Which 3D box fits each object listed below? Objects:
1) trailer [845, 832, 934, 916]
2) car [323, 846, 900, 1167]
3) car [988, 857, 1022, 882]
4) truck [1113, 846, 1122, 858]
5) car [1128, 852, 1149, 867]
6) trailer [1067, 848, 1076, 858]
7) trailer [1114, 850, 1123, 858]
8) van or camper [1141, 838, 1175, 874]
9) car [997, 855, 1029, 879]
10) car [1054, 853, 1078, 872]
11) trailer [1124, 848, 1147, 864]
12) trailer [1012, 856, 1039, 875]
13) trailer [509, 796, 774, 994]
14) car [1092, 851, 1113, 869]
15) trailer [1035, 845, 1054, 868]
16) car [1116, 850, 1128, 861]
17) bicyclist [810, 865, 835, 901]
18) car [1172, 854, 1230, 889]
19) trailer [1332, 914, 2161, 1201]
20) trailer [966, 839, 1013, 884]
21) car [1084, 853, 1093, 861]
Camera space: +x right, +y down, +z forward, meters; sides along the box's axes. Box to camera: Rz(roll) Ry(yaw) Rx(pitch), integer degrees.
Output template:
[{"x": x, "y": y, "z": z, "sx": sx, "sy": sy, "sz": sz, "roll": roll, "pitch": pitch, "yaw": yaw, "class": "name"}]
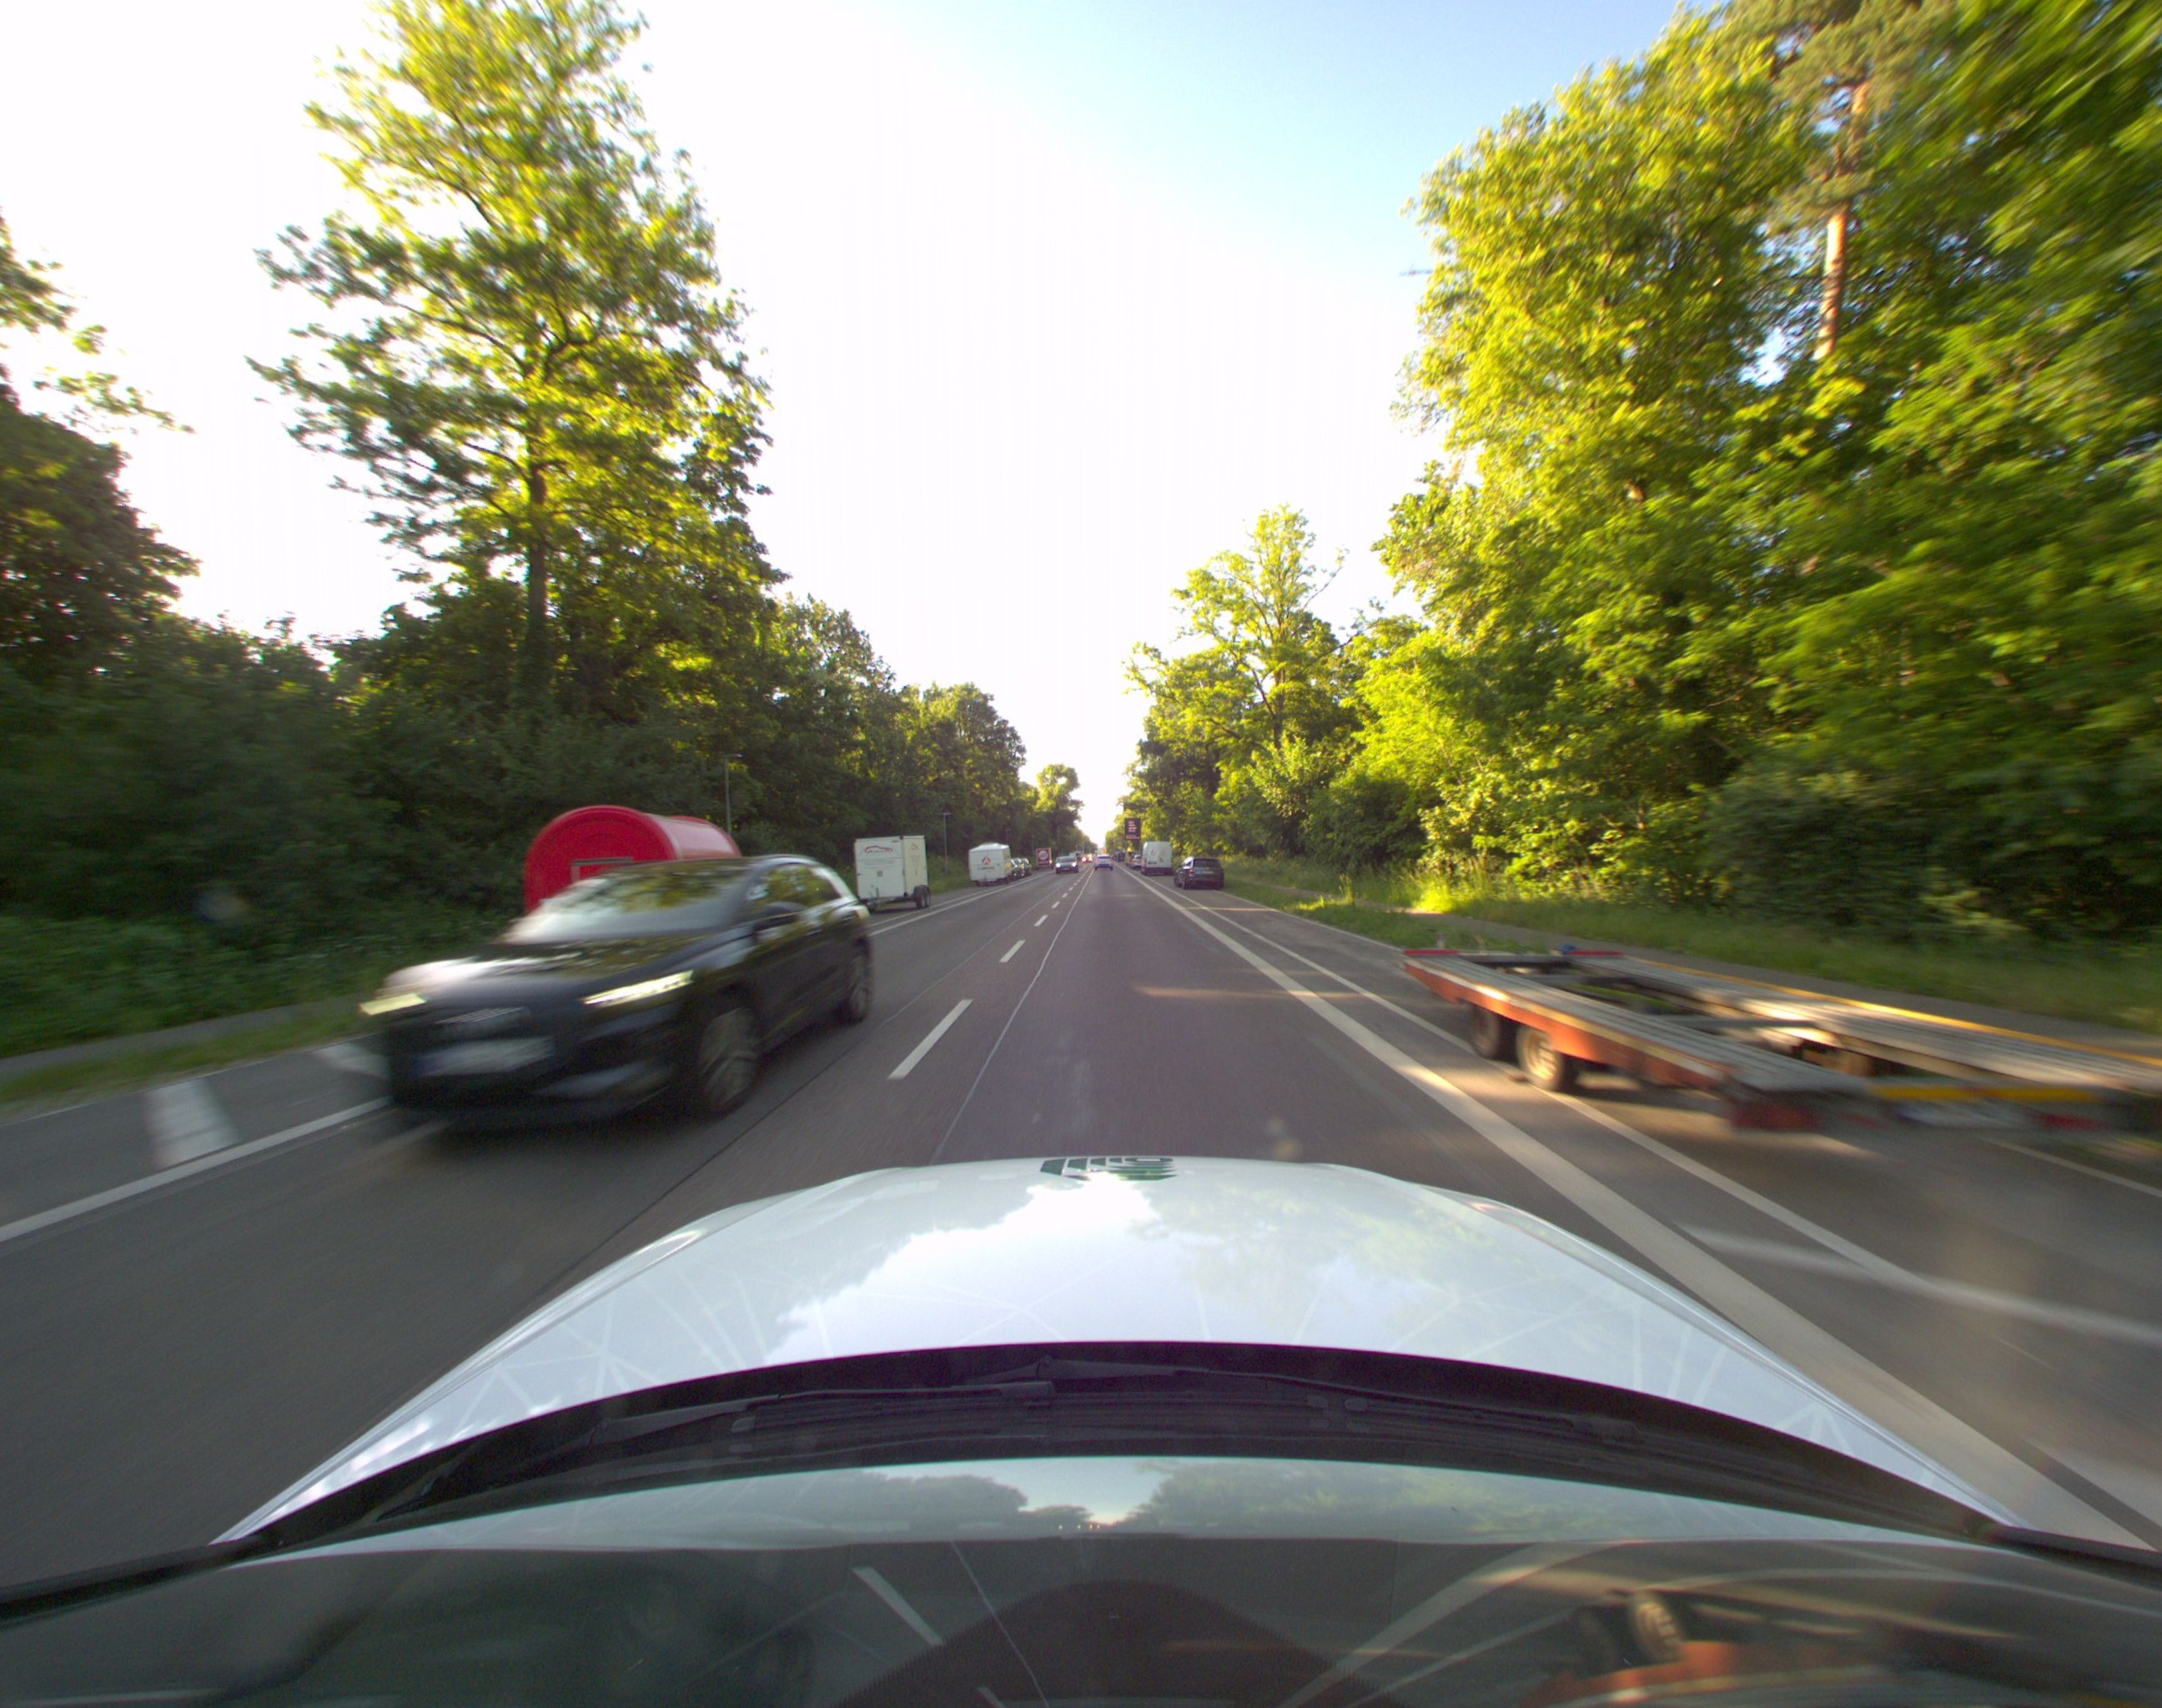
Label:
[{"x": -6.170, "y": 0.603, "z": 26.691, "sx": 2.061, "sy": 2.480, "sz": 3.558, "roll": -2, "pitch": 0, "yaw": -2, "class": "trailer"}, {"x": -2.946, "y": 0.803, "z": 6.461, "sx": 1.811, "sy": 1.587, "sz": 4.461, "roll": -3, "pitch": 0, "yaw": 2, "class": "car"}, {"x": -5.112, "y": 1.027, "z": 55.259, "sx": 1.665, "sy": 1.495, "sz": 4.196, "roll": -5, "pitch": 0, "yaw": 2, "class": "car"}, {"x": 10.380, "y": -0.660, "z": 232.852, "sx": 2.495, "sy": 3.366, "sz": 7.110, "roll": -1, "pitch": 0, "yaw": 2, "class": "truck"}, {"x": 5.676, "y": 0.537, "z": 80.943, "sx": 1.729, "sy": 1.488, "sz": 4.401, "roll": 0, "pitch": 0, "yaw": 0, "class": "car"}, {"x": -2.403, "y": -0.287, "z": 203.498, "sx": 2.066, "sy": 2.293, "sz": 3.489, "roll": -3, "pitch": 0, "yaw": 3, "class": "trailer"}, {"x": 9.373, "y": -0.018, "z": 202.442, "sx": 1.600, "sy": 2.112, "sz": 2.409, "roll": -1, "pitch": 0, "yaw": 22, "class": "trailer"}, {"x": 5.658, "y": 0.134, "z": 60.207, "sx": 2.117, "sy": 2.482, "sz": 6.308, "roll": -2, "pitch": 0, "yaw": 2, "class": "van or camper"}, {"x": -5.087, "y": 0.947, "z": 61.510, "sx": 1.665, "sy": 1.574, "sz": 5.129, "roll": -5, "pitch": 0, "yaw": 2, "class": "car"}, {"x": -1.255, "y": 0.736, "z": 70.727, "sx": 1.813, "sy": 1.532, "sz": 4.531, "roll": -3, "pitch": 0, "yaw": 1, "class": "car"}, {"x": 7.303, "y": 0.224, "z": 109.028, "sx": 1.945, "sy": 2.022, "sz": 3.864, "roll": -2, "pitch": 0, "yaw": 21, "class": "trailer"}, {"x": -4.628, "y": 0.932, "z": 68.761, "sx": 1.834, "sy": 1.466, "sz": 4.467, "roll": -1, "pitch": 0, "yaw": 1, "class": "trailer"}, {"x": -6.356, "y": 0.520, "z": 12.324, "sx": 2.061, "sy": 2.480, "sz": 3.558, "roll": -2, "pitch": 0, "yaw": -2, "class": "trailer"}, {"x": 2.103, "y": 0.606, "z": 80.660, "sx": 1.986, "sy": 1.640, "sz": 4.001, "roll": -2, "pitch": 0, "yaw": 1, "class": "car"}, {"x": -4.347, "y": 0.331, "z": 97.871, "sx": 1.986, "sy": 2.621, "sz": 4.087, "roll": -2, "pitch": 0, "yaw": 2, "class": "trailer"}, {"x": 7.930, "y": 0.260, "z": 158.378, "sx": 2.105, "sy": 2.013, "sz": 5.042, "roll": 0, "pitch": 0, "yaw": 2, "class": "car"}, {"x": -10.077, "y": 1.113, "z": 31.770, "sx": 0.668, "sy": 1.364, "sz": 0.905, "roll": -1, "pitch": -1, "yaw": 2, "class": "bicyclist"}, {"x": 5.344, "y": 0.730, "z": 36.886, "sx": 1.829, "sy": 1.421, "sz": 4.594, "roll": 1, "pitch": 0, "yaw": -1, "class": "car"}, {"x": 3.937, "y": 1.070, "z": 6.269, "sx": 2.424, "sy": 0.798, "sz": 5.661, "roll": -1, "pitch": 0, "yaw": 2, "class": "trailer"}, {"x": -5.491, "y": 0.443, "z": 49.339, "sx": 2.340, "sy": 2.529, "sz": 4.341, "roll": -2, "pitch": 0, "yaw": -2, "class": "trailer"}, {"x": 1.450, "y": 0.505, "z": 157.471, "sx": 1.598, "sy": 1.420, "sz": 3.519, "roll": -3, "pitch": 0, "yaw": 1, "class": "car"}]
